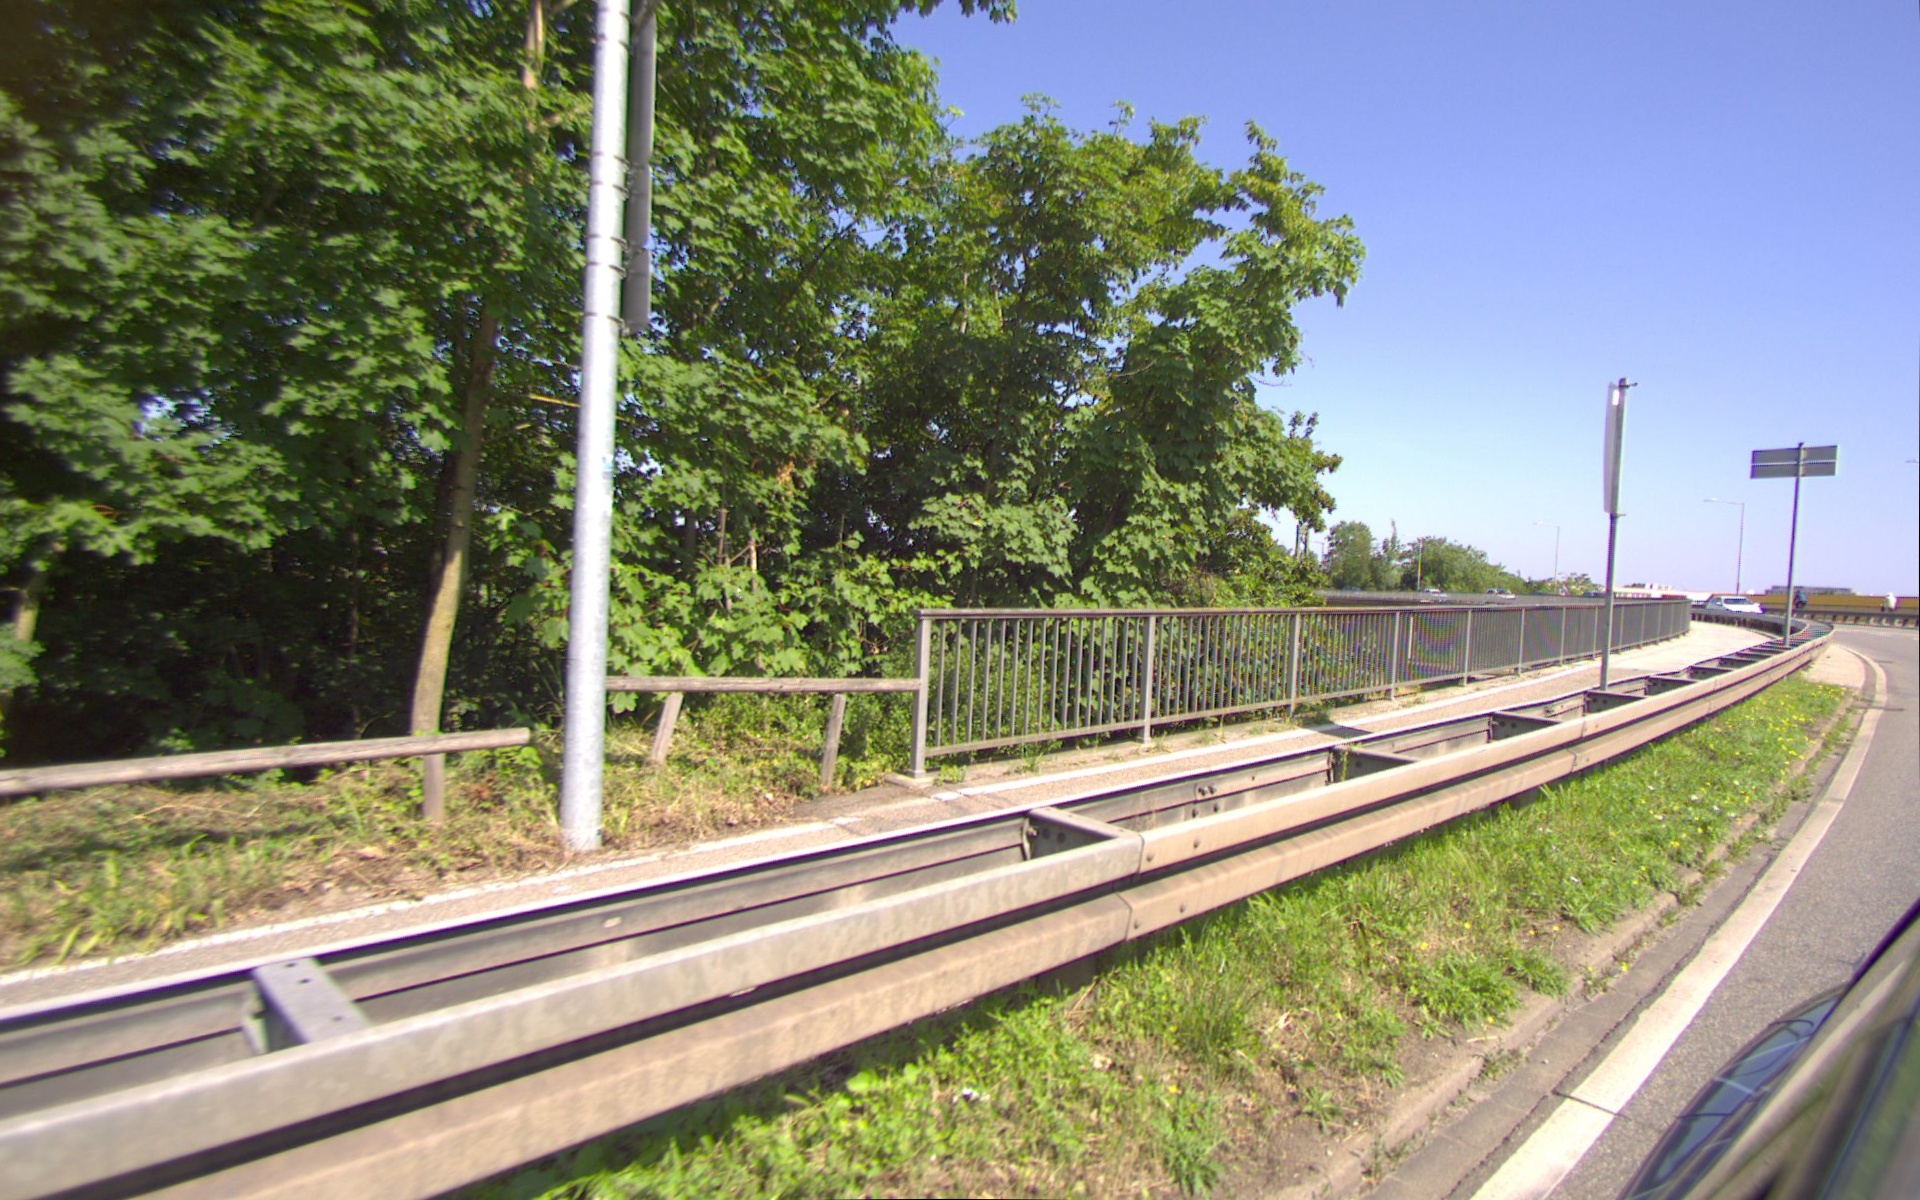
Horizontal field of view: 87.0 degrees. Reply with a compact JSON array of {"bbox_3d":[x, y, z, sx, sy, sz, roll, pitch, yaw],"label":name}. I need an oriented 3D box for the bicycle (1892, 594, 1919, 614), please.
[{"bbox_3d":[52.776,0.218,56.486,0.570,1.060,1.694,-1,-1,25],"label":"bicycle"}]

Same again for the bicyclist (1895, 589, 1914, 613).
[{"bbox_3d":[52.846,0.040,56.629,0.484,1.345,0.939,1,1,25],"label":"bicyclist"}]

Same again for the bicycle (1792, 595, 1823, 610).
[{"bbox_3d":[55.256,0.152,66.003,0.920,0.902,1.954,2,0,20],"label":"bicycle"}]

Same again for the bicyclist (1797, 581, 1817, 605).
[{"bbox_3d":[55.261,-0.472,66.059,0.654,1.515,1.010,1,-1,18],"label":"bicyclist"}]

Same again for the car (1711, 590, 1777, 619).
[{"bbox_3d":[43.808,0.232,56.662,1.826,1.507,4.121,1,1,22],"label":"car"}]
